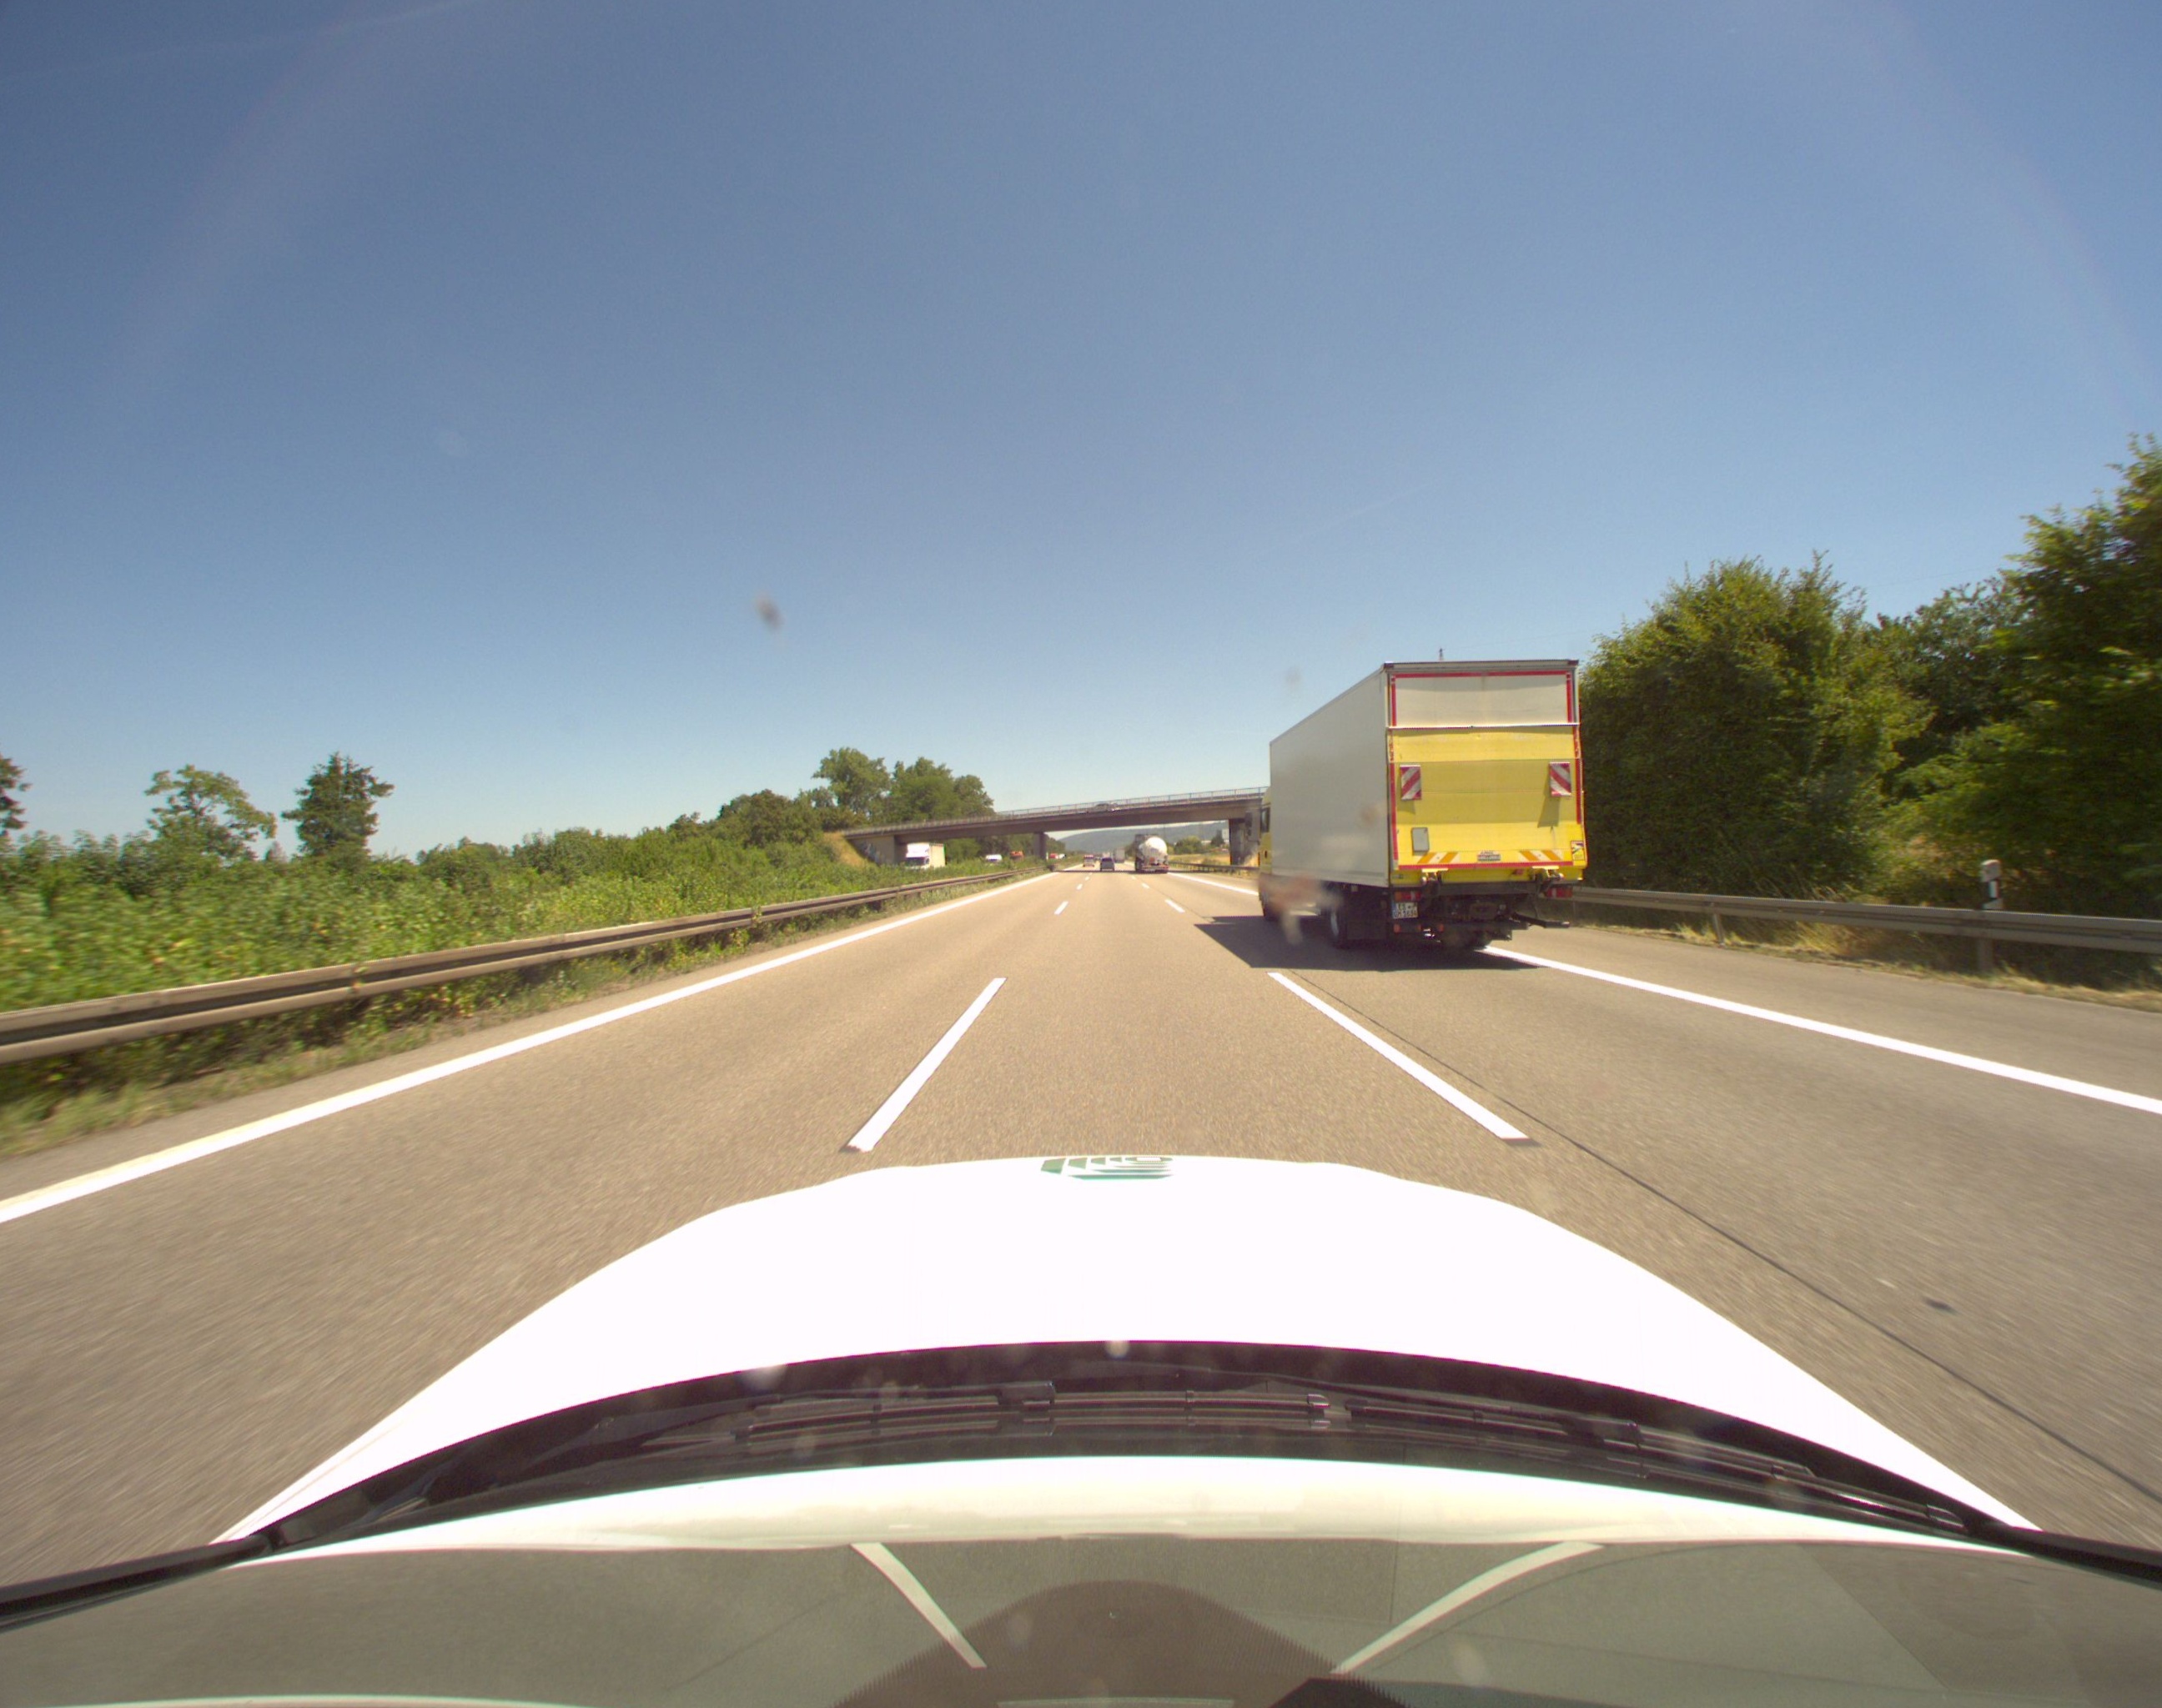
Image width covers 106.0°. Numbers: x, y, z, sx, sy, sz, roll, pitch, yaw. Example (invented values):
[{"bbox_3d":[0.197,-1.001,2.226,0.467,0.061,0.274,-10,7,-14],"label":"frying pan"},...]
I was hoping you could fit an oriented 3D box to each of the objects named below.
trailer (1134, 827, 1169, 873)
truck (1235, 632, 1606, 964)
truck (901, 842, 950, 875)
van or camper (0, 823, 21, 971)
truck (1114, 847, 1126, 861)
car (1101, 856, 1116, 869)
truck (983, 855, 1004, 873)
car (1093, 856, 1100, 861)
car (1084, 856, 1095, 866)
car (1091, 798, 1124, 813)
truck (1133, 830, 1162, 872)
[{"bbox_3d":[6.589,-0.313,77.286,2.570,4.074,11.105,0,0,1],"label":"trailer"},{"bbox_3d":[5.308,-0.694,15.660,2.923,4.200,10.684,0,0,1],"label":"truck"},{"bbox_3d":[-17.528,0.522,92.450,2.865,3.498,10.744,0,0,3],"label":"truck"},{"bbox_3d":[-19.630,0.737,11.105,1.986,2.545,6.301,0,0,2],"label":"van or camper"},{"bbox_3d":[10.860,0.032,227.536,3.253,3.857,11.634,0,0,1],"label":"truck"},{"bbox_3d":[3.187,1.016,94.567,1.800,1.468,4.002,0,0,2],"label":"car"},{"bbox_3d":[-12.325,1.389,115.177,1.985,2.399,6.424,0,0,3],"label":"truck"},{"bbox_3d":[4.331,1.301,228.148,1.828,1.386,4.002,0,0,2],"label":"car"},{"bbox_3d":[1.405,1.100,136.383,1.845,1.633,4.002,0,0,2],"label":"car"},{"bbox_3d":[3.028,-5.575,93.178,1.647,1.468,3.955,0,0,-38],"label":"car"},{"bbox_3d":[6.710,-0.297,82.427,2.564,4.072,6.394,0,0,1],"label":"truck"}]
